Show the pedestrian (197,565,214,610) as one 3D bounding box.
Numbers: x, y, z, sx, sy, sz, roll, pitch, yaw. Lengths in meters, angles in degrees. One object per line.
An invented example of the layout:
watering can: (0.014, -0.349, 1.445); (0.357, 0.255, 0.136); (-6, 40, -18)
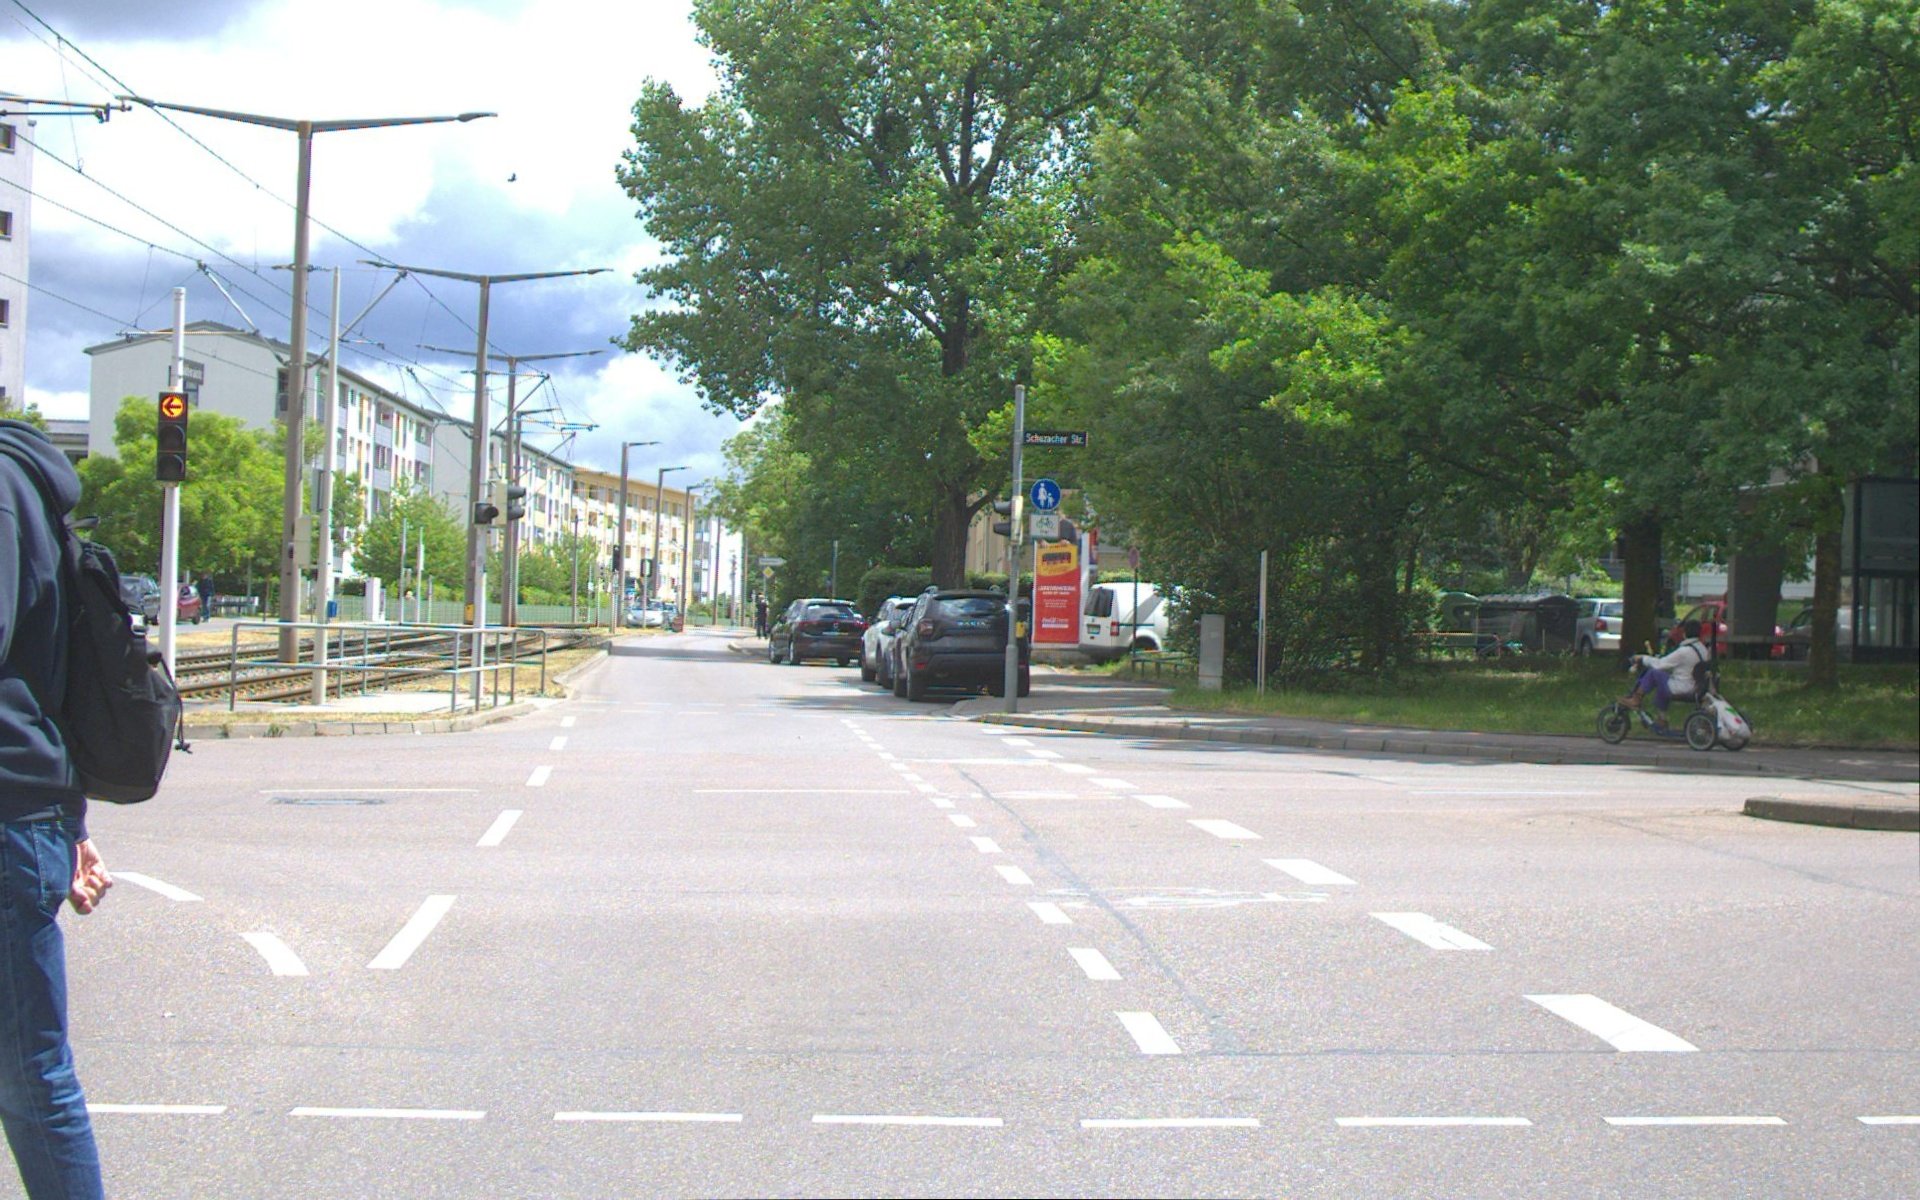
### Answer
pedestrian: (-27.243, -0.459, 124.146); (0.453, 1.631, 0.480); (1, 1, 4)

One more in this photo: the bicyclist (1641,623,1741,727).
bicyclist: (7.381, 0.752, 34.704); (0.792, 1.019, 0.635); (1, 1, -44)

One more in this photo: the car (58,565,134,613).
car: (-26.348, -0.353, 104.902); (1.760, 1.390, 4.001); (1, 1, -7)

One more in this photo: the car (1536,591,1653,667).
car: (14.096, 0.628, 76.562); (1.630, 1.589, 4.001); (1, 1, -4)

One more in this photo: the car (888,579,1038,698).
car: (0.024, 0.565, 51.805); (2.152, 1.678, 4.000); (1, 0, -1)

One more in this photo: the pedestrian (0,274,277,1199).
pedestrian: (-1.755, 0.428, 6.031); (0.966, 1.935, 0.897); (1, 1, -5)

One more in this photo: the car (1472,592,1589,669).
car: (12.472, 0.641, 75.308); (1.630, 1.567, 4.033); (1, 1, -4)

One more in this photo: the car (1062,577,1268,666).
car: (4.372, 0.457, 73.328); (3.986, 1.817, 1.779); (1, 1, -23)

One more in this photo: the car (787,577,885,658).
car: (-2.666, 0.355, 74.515); (1.993, 1.678, 4.000); (1, 1, -1)

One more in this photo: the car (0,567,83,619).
car: (-26.294, -0.214, 98.489); (1.760, 1.390, 4.001); (1, 1, -7)

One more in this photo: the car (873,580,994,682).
car: (-0.465, 0.529, 59.251); (1.993, 1.678, 4.000); (1, 0, -1)

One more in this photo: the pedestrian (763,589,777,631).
pedestrian: (-7.440, 0.375, 134.623); (0.478, 1.631, 0.454); (1, 1, -1)

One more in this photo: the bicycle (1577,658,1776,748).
bicycle: (7.237, 1.029, 34.773); (1.807, 0.816, 0.792); (2, 1, 45)

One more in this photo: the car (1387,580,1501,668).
car: (10.458, 0.487, 74.546); (1.630, 1.804, 4.033); (1, 1, -4)

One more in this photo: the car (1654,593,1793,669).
car: (17.061, 0.664, 77.024); (1.730, 1.589, 4.001); (1, 1, -8)

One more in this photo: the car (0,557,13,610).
car: (-26.300, -0.453, 91.086); (1.760, 1.390, 4.001); (1, 1, -7)

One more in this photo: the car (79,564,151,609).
car: (-26.927, -0.447, 109.644); (1.760, 1.390, 4.001); (1, 1, -7)
